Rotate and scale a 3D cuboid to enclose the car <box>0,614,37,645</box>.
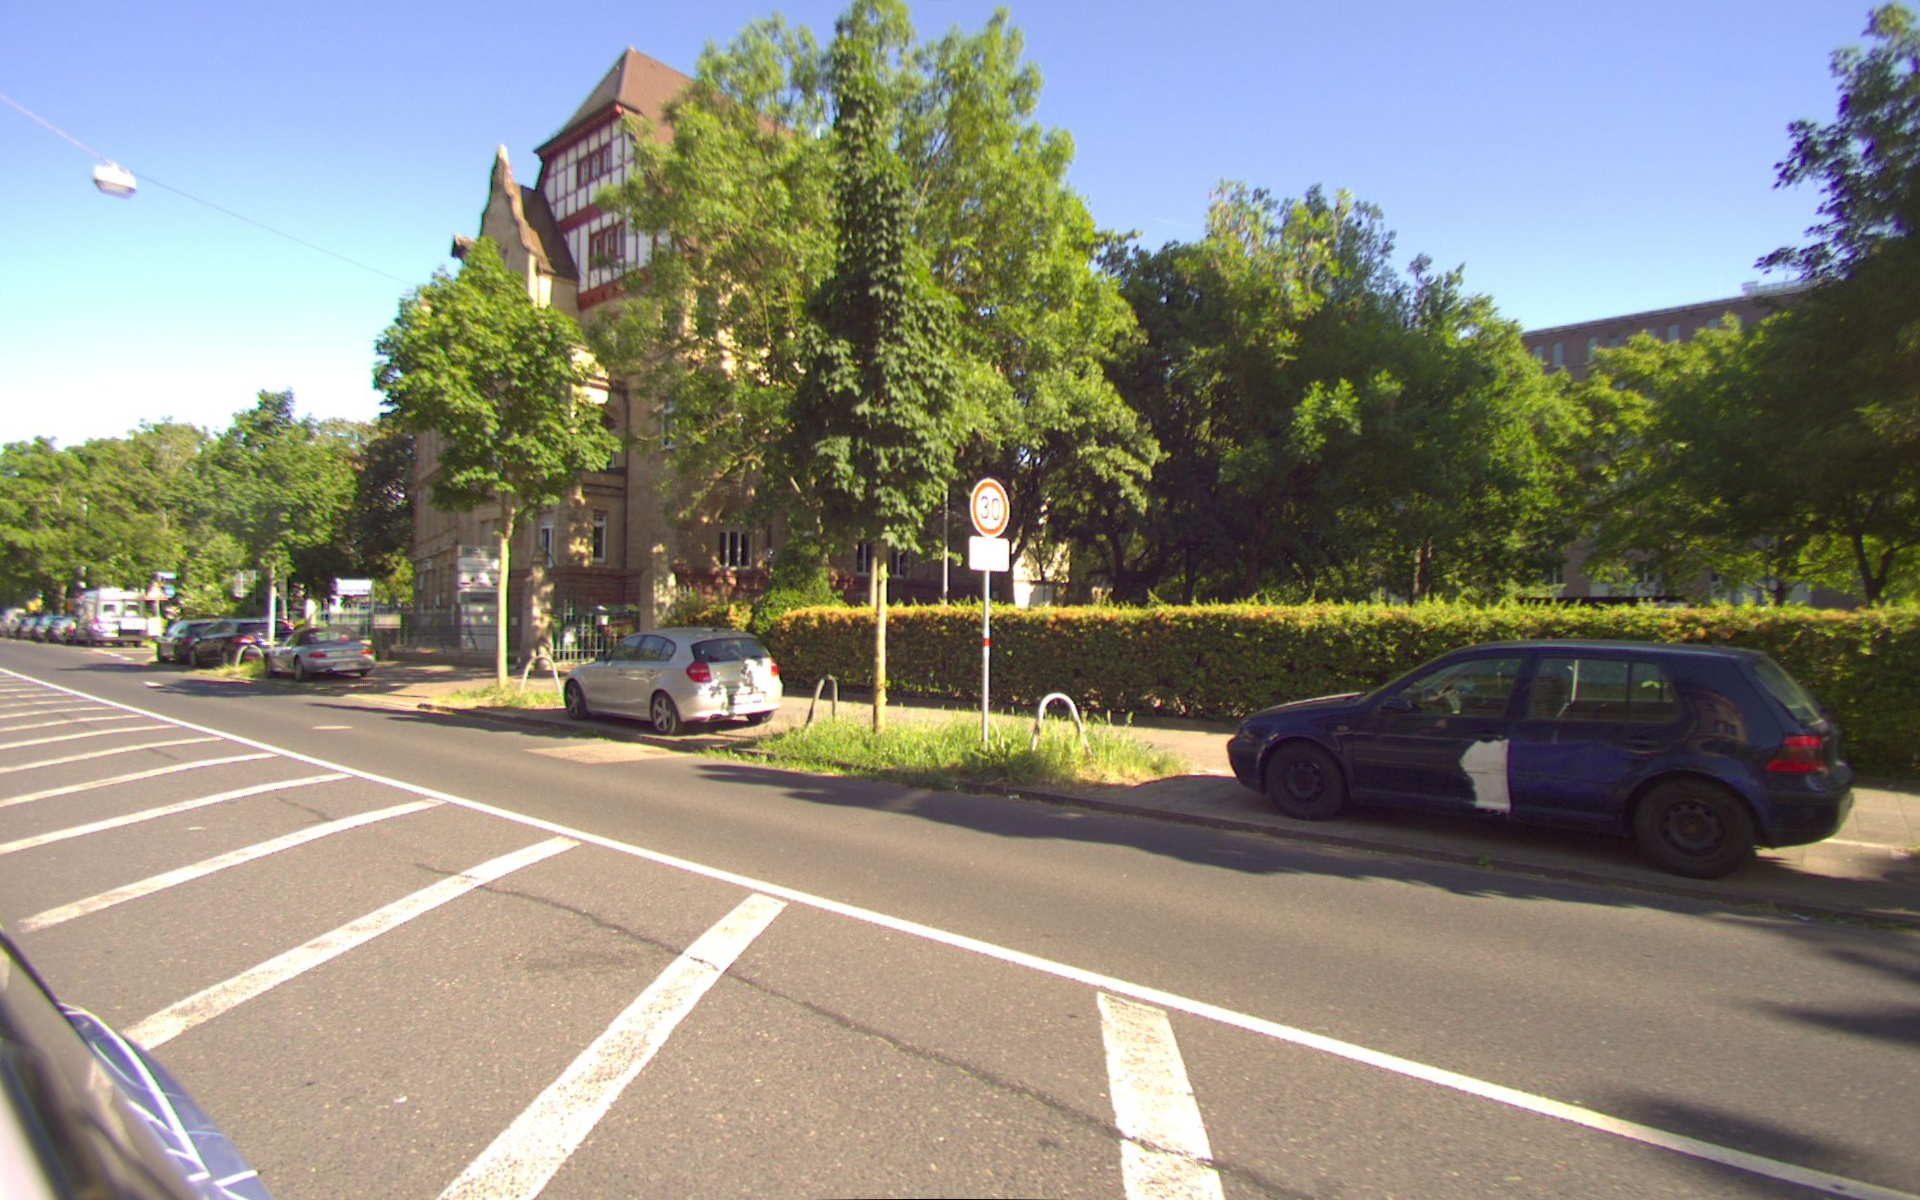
[{"bbox_3d":[-66.026,2.043,70.235,4.867,2.052,1.965,-1,-3,37],"label":"car"}]

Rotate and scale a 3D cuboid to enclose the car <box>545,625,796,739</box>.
[{"bbox_3d":[-4.380,1.098,14.947,4.192,1.394,1.669,-1,0,44],"label":"car"}]

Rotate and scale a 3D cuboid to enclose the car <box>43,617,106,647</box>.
[{"bbox_3d":[-45.797,1.650,52.323,4.659,1.468,1.676,-1,-4,40],"label":"car"}]

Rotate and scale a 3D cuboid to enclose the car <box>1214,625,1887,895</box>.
[{"bbox_3d":[4.160,0.926,7.590,4.071,1.470,1.693,-1,-2,43],"label":"car"}]

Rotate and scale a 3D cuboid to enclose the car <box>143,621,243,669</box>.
[{"bbox_3d":[-26.252,1.476,34.584,4.718,1.438,1.836,-1,1,42],"label":"car"}]

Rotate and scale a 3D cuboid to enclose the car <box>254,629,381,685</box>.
[{"bbox_3d":[-16.263,1.392,25.546,4.013,1.265,1.660,-1,-2,42],"label":"car"}]

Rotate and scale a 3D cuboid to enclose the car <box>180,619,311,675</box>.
[{"bbox_3d":[-21.714,1.363,30.711,4.697,1.505,1.839,-1,1,36],"label":"car"}]

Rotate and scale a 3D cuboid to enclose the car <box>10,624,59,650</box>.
[{"bbox_3d":[-59.364,2.373,64.890,4.266,1.493,1.575,0,-3,38],"label":"car"}]

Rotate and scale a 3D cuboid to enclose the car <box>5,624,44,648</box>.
[{"bbox_3d":[-62.393,2.408,67.468,3.957,1.513,1.448,0,-3,41],"label":"car"}]

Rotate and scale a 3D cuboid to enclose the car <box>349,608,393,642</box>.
[{"bbox_3d":[-35.791,1.477,61.578,1.833,1.928,4.466,3,-2,-25],"label":"car"}]

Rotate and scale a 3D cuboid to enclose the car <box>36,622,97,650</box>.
[{"bbox_3d":[-47.447,1.906,53.718,4.403,1.424,1.762,-1,-4,41],"label":"car"}]

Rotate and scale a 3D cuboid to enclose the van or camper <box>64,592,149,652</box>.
[{"bbox_3d":[-41.445,1.077,49.079,6.085,2.760,2.193,-1,-3,41],"label":"van or camper"}]

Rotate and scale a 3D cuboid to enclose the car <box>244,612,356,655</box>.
[{"bbox_3d":[-29.468,1.459,45.339,1.976,1.682,4.135,-2,0,8],"label":"car"}]
